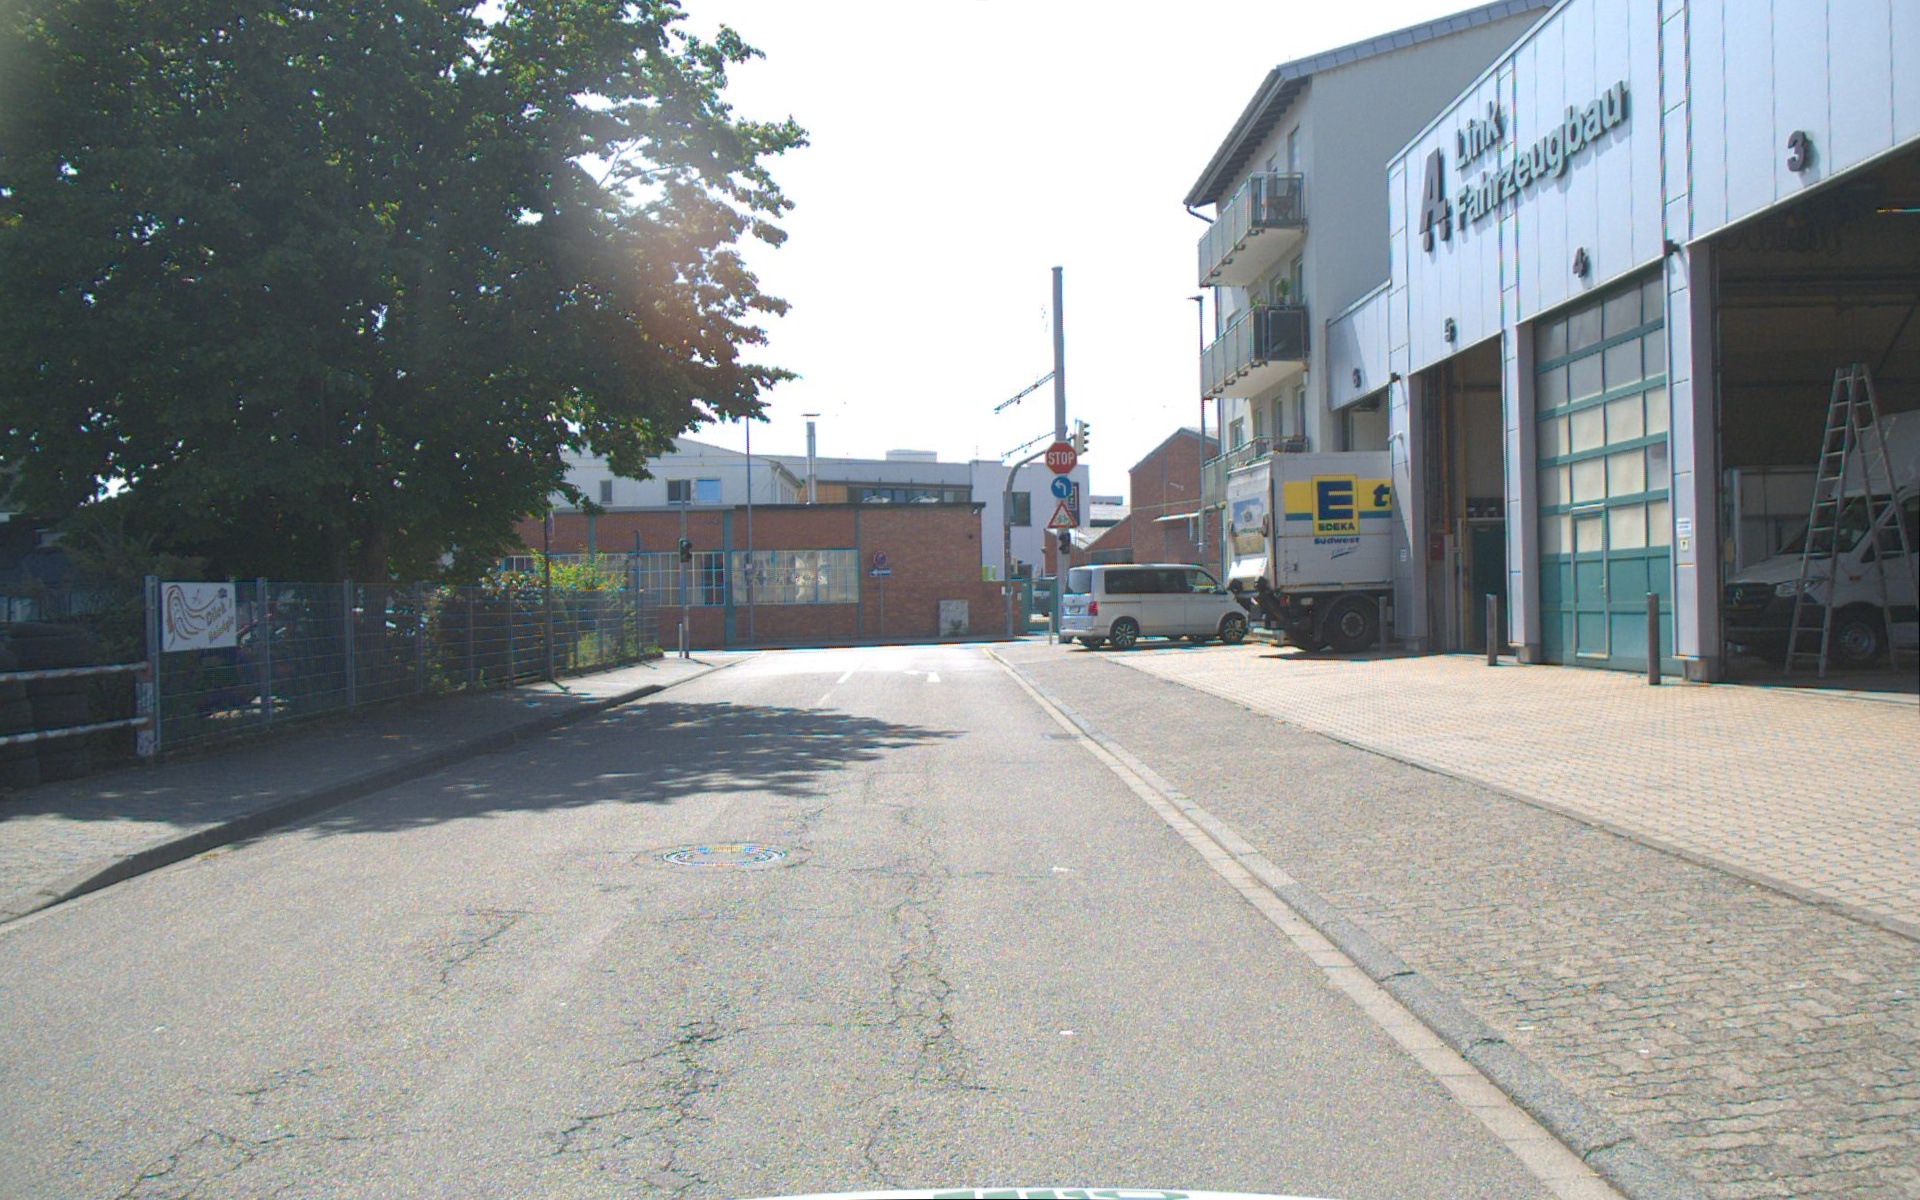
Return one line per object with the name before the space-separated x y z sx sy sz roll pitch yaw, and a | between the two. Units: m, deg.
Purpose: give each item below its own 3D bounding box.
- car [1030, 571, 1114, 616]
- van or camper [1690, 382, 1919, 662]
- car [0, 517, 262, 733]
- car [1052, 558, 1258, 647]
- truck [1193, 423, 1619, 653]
car | 5.771 -0.330 85.168 3.951 2.228 1.977 -1 0 -34
van or camper | 12.071 -0.982 21.051 4.663 3.346 1.998 -1 0 -5
car | -11.255 0.316 20.956 4.004 2.557 1.776 -1 0 -3
car | 4.703 0.045 40.018 4.586 1.992 1.905 -1 0 -21
truck | 8.444 -1.174 31.731 7.221 3.708 2.763 -4 0 -8
